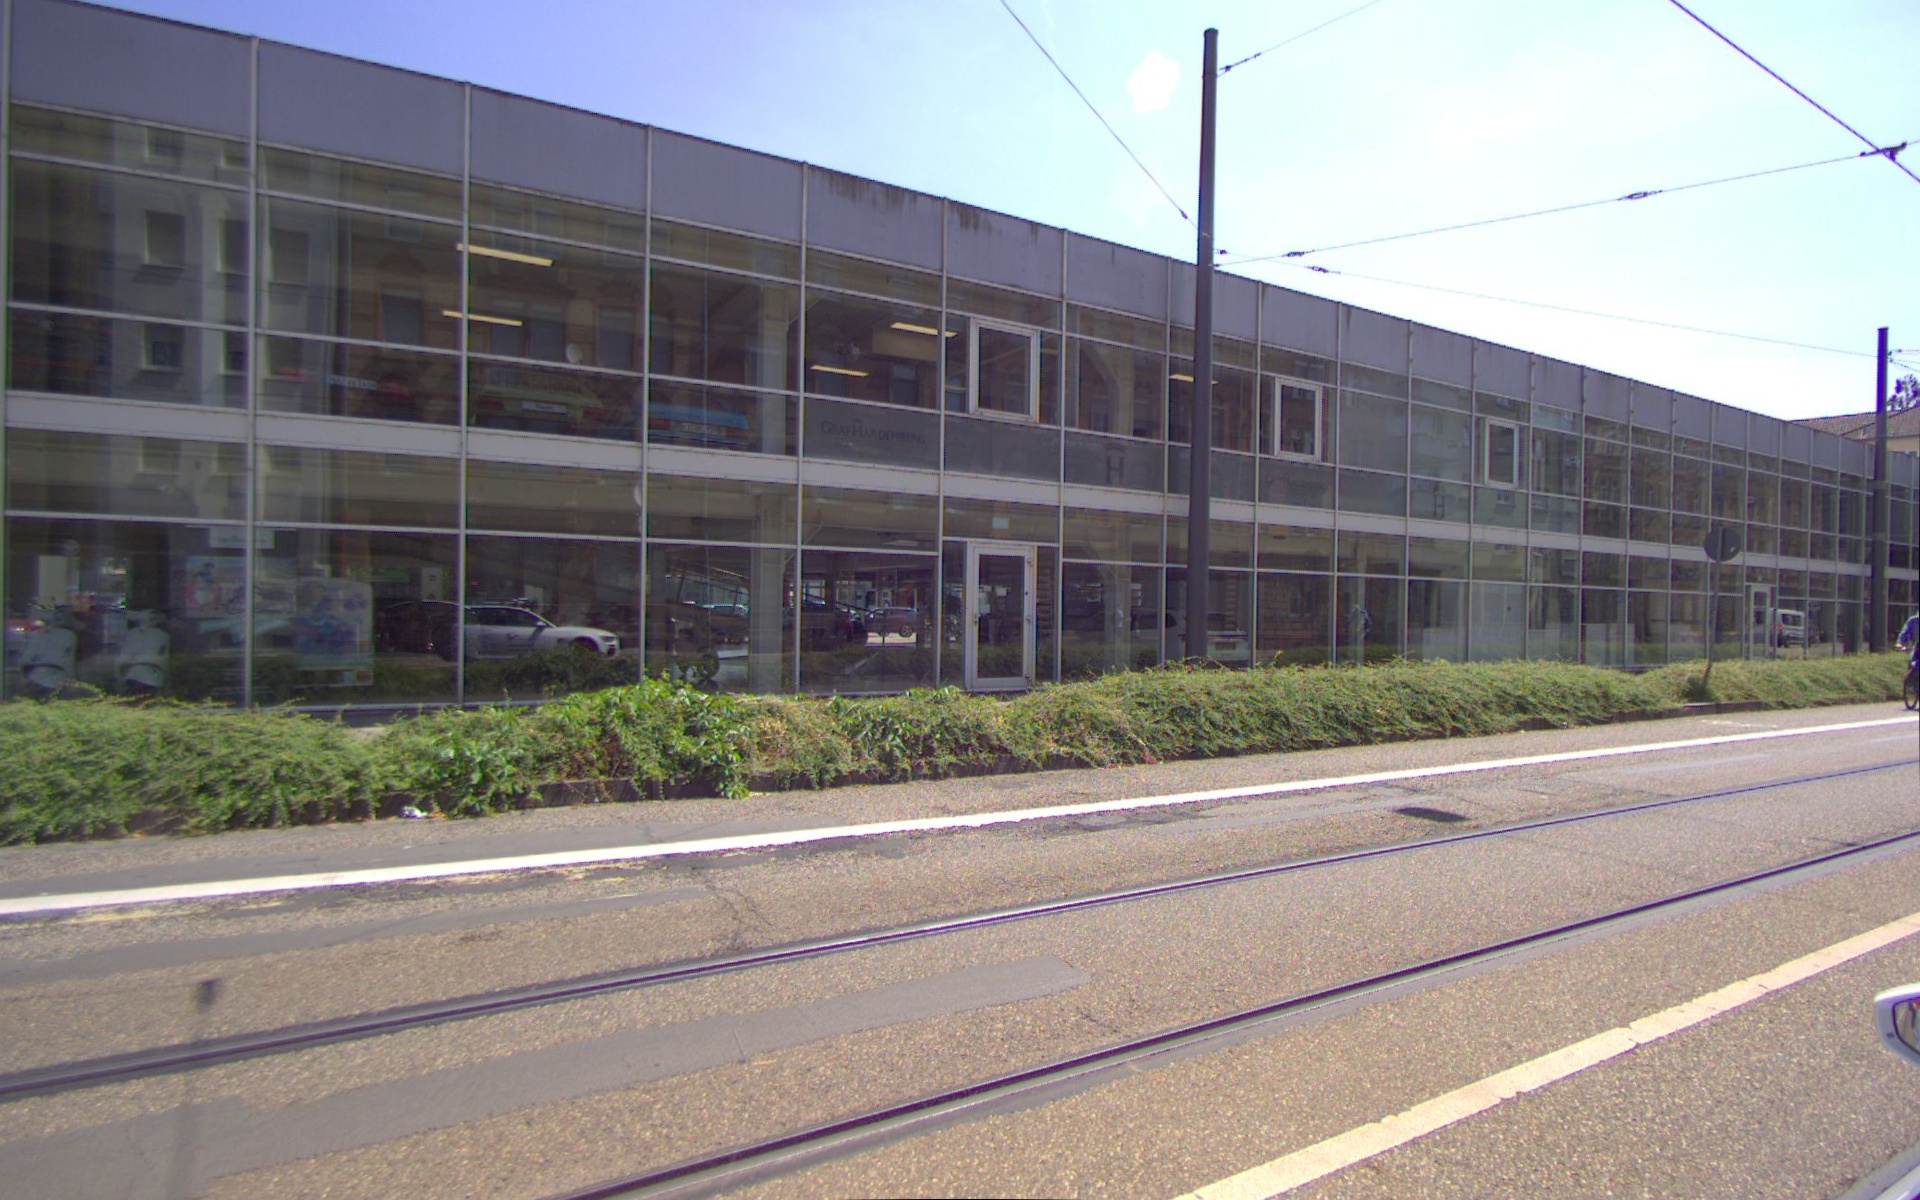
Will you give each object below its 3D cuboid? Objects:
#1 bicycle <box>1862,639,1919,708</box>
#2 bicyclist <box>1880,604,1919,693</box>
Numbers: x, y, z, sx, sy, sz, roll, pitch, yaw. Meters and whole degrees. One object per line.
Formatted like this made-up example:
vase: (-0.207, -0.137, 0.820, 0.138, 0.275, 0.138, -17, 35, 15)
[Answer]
bicycle: (17.249, 1.295, 18.112, 2.465, 1.160, 0.695, 1, -1, -29)
bicyclist: (17.221, 0.866, 18.085, 0.968, 1.569, 0.695, 1, -1, -29)
